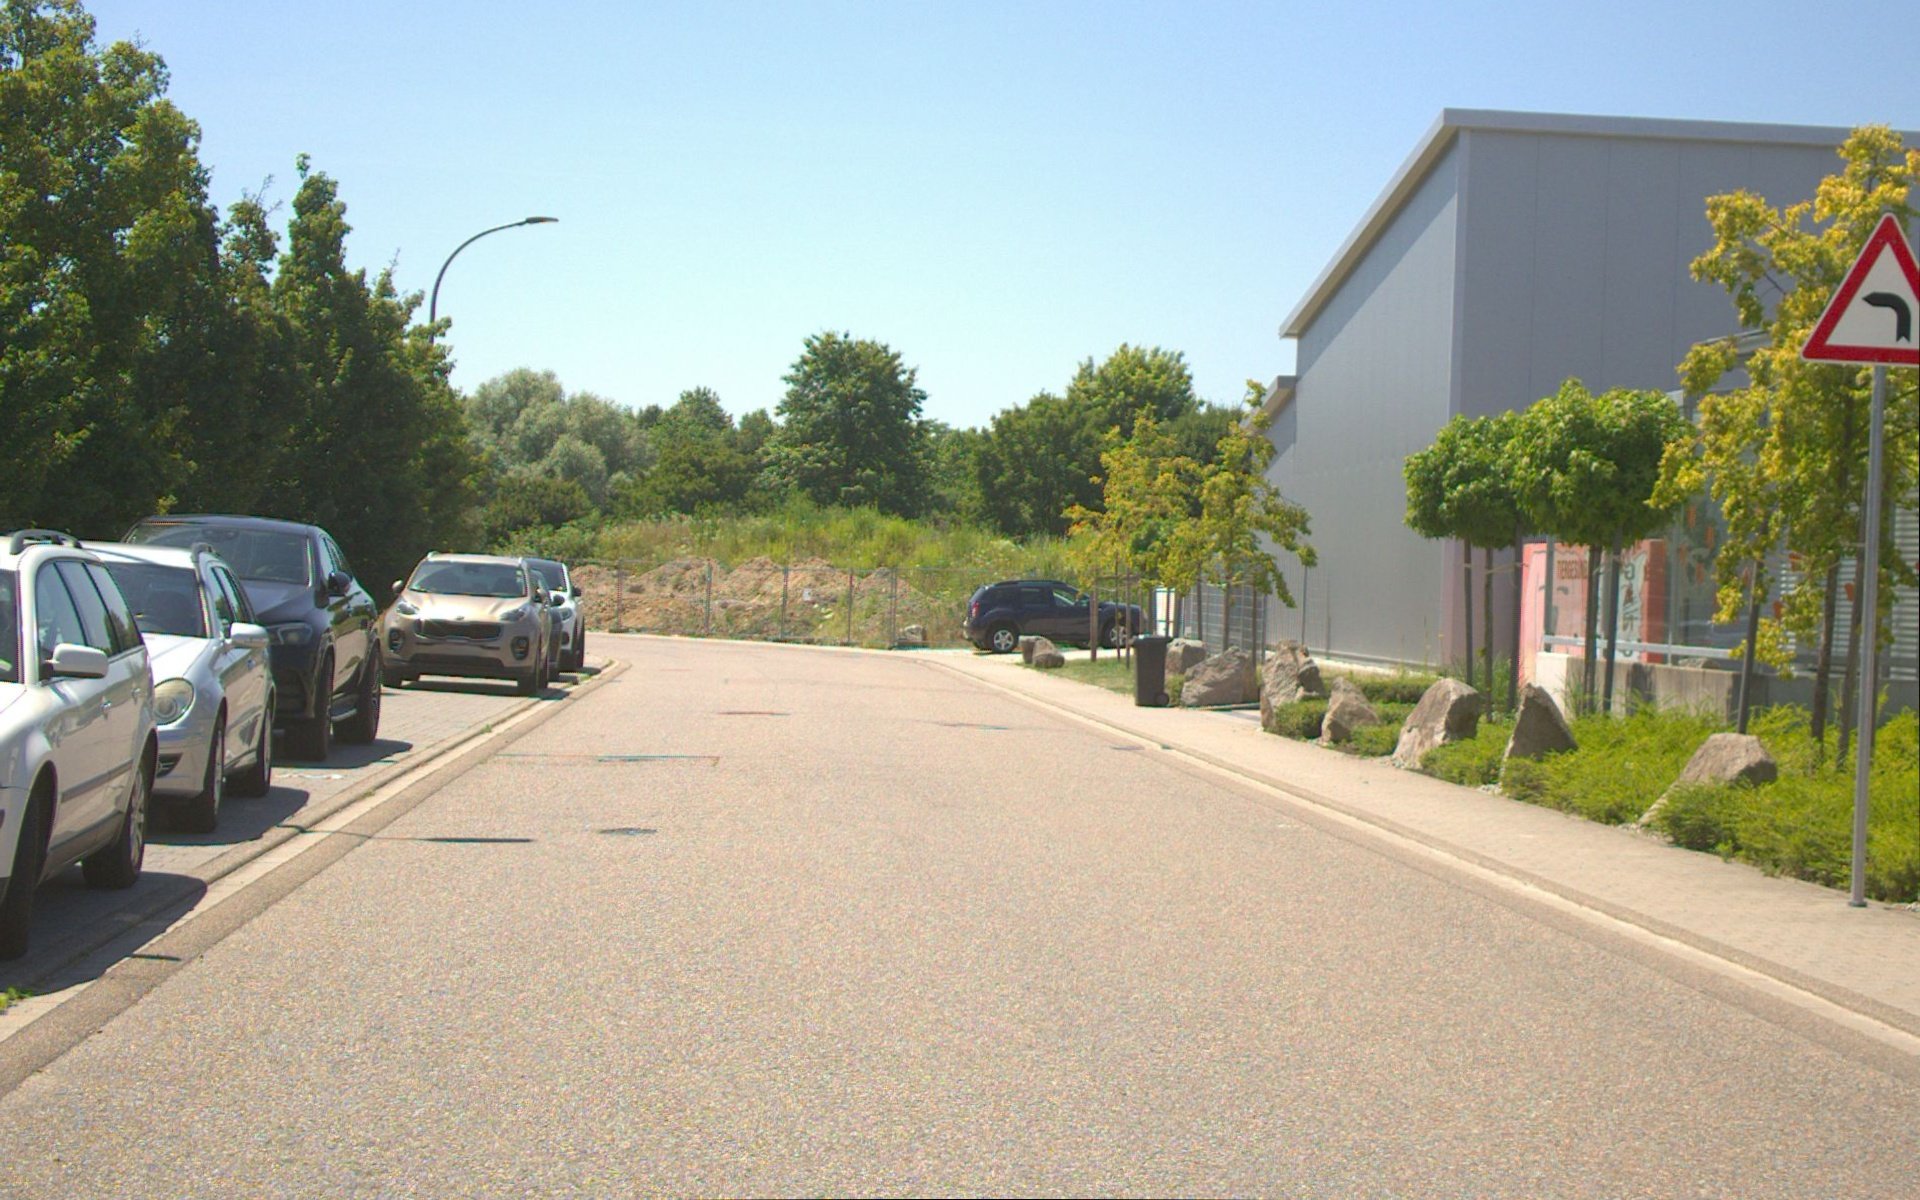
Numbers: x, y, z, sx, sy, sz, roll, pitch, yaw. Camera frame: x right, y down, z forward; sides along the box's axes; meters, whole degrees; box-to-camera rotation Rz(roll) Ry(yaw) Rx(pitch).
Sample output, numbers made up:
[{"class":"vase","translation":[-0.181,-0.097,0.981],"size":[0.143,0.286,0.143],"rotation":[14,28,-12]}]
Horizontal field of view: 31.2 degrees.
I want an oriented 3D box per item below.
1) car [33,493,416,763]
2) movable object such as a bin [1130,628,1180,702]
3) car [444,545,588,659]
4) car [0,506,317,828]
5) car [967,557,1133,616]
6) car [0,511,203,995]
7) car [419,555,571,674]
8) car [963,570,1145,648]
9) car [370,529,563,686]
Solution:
[{"class":"car","translation":[-5.406,0.160,25.931],"size":[1.991,1.707,5.008],"rotation":[4,0,-3]},{"class":"movable object such as a bin","translation":[2.558,0.853,45.067],"size":[0.558,0.943,0.539],"rotation":[1,0,-5]},{"class":"car","translation":[-6.975,0.008,54.444],"size":[1.912,1.650,4.755],"rotation":[2,1,-4]},{"class":"car","translation":[-4.821,0.269,19.444],"size":[1.851,1.514,5.168],"rotation":[4,0,-6]},{"class":"car","translation":[2.239,-0.348,86.613],"size":[4.009,1.457,1.893],"rotation":[0,0,-4]},{"class":"car","translation":[-4.155,0.390,13.133],"size":[1.851,1.514,4.906],"rotation":[4,0,-6]},{"class":"car","translation":[-6.603,0.174,49.153],"size":[1.912,1.486,4.414],"rotation":[4,0,-6]},{"class":"car","translation":[2.163,0.205,79.917],"size":[4.009,1.650,1.858],"rotation":[-2,1,-4]},{"class":"car","translation":[-6.009,0.055,42.288],"size":[1.912,1.707,4.413],"rotation":[4,0,-4]}]
